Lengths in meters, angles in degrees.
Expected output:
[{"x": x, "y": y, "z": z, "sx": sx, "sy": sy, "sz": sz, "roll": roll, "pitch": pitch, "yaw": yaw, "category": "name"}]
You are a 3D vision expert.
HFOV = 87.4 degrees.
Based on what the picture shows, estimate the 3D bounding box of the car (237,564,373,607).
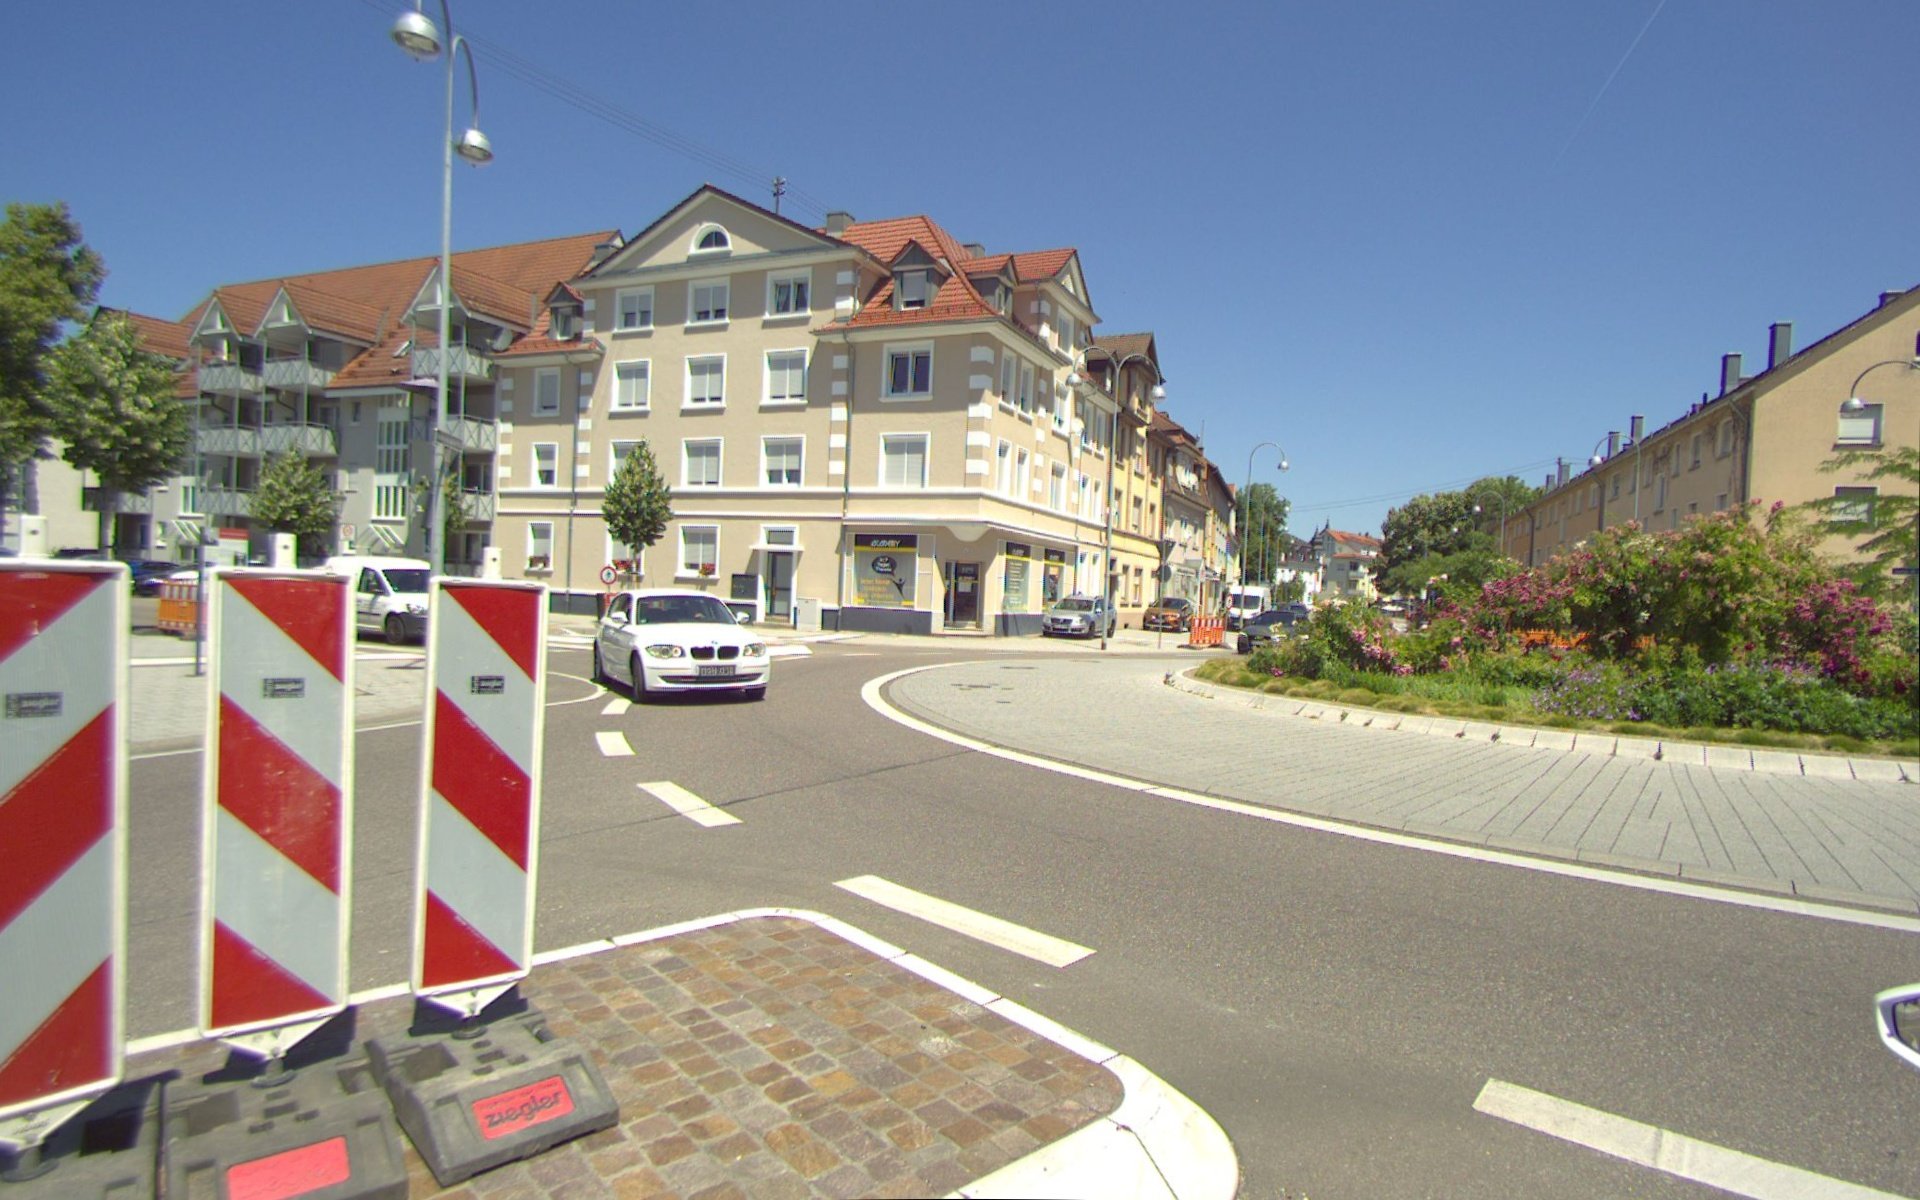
[{"x": -25.749, "y": -0.543, "z": 39.617, "sx": 1.945, "sy": 1.512, "sz": 4.078, "roll": 2, "pitch": 0, "yaw": 26, "category": "car"}]

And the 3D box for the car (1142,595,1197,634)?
[{"x": 9.878, "y": 0.685, "z": 47.249, "sx": 1.573, "sy": 1.638, "sz": 4.088, "roll": 5, "pitch": 1, "yaw": 24, "category": "car"}]

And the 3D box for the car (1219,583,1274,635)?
[{"x": 15.951, "y": 0.505, "z": 55.759, "sx": 2.110, "sy": 2.566, "sz": 6.235, "roll": 5, "pitch": 1, "yaw": 22, "category": "car"}]

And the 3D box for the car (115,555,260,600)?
[{"x": -31.992, "y": -0.912, "z": 41.746, "sx": 1.945, "sy": 1.692, "sz": 4.368, "roll": 2, "pitch": 0, "yaw": 26, "category": "car"}]

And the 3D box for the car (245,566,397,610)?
[{"x": -23.694, "y": -0.415, "z": 37.449, "sx": 1.945, "sy": 1.512, "sz": 4.404, "roll": 2, "pitch": 0, "yaw": 26, "category": "car"}]

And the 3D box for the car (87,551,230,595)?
[{"x": -34.202, "y": -1.136, "z": 42.996, "sx": 1.945, "sy": 1.692, "sz": 4.368, "roll": 2, "pitch": 0, "yaw": 26, "category": "car"}]

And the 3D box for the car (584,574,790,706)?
[{"x": -3.977, "y": 0.455, "z": 14.134, "sx": 1.766, "sy": 1.572, "sz": 4.094, "roll": 1, "pitch": 0, "yaw": -30, "category": "car"}]

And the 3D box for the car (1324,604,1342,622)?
[{"x": 42.728, "y": 1.492, "z": 115.109, "sx": 1.782, "sy": 1.817, "sz": 4.000, "roll": 4, "pitch": 1, "yaw": 19, "category": "car"}]

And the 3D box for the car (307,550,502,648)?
[{"x": -12.164, "y": -0.055, "z": 21.934, "sx": 4.167, "sy": 1.801, "sz": 1.778, "roll": 4, "pitch": 1, "yaw": 30, "category": "car"}]

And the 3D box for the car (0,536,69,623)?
[{"x": -21.605, "y": -0.517, "z": 21.960, "sx": 4.165, "sy": 1.801, "sz": 1.779, "roll": 3, "pitch": 1, "yaw": 27, "category": "car"}]

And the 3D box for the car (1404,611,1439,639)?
[{"x": 32.938, "y": 1.756, "z": 71.755, "sx": 1.782, "sy": 1.817, "sz": 4.000, "roll": 4, "pitch": 1, "yaw": 19, "category": "car"}]

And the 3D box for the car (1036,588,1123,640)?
[{"x": 4.431, "y": 0.494, "z": 36.525, "sx": 1.747, "sy": 1.708, "sz": 4.691, "roll": 3, "pitch": 1, "yaw": 24, "category": "car"}]

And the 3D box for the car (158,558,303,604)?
[{"x": -29.615, "y": -0.755, "z": 40.913, "sx": 1.945, "sy": 1.692, "sz": 4.368, "roll": 2, "pitch": 0, "yaw": 26, "category": "car"}]
